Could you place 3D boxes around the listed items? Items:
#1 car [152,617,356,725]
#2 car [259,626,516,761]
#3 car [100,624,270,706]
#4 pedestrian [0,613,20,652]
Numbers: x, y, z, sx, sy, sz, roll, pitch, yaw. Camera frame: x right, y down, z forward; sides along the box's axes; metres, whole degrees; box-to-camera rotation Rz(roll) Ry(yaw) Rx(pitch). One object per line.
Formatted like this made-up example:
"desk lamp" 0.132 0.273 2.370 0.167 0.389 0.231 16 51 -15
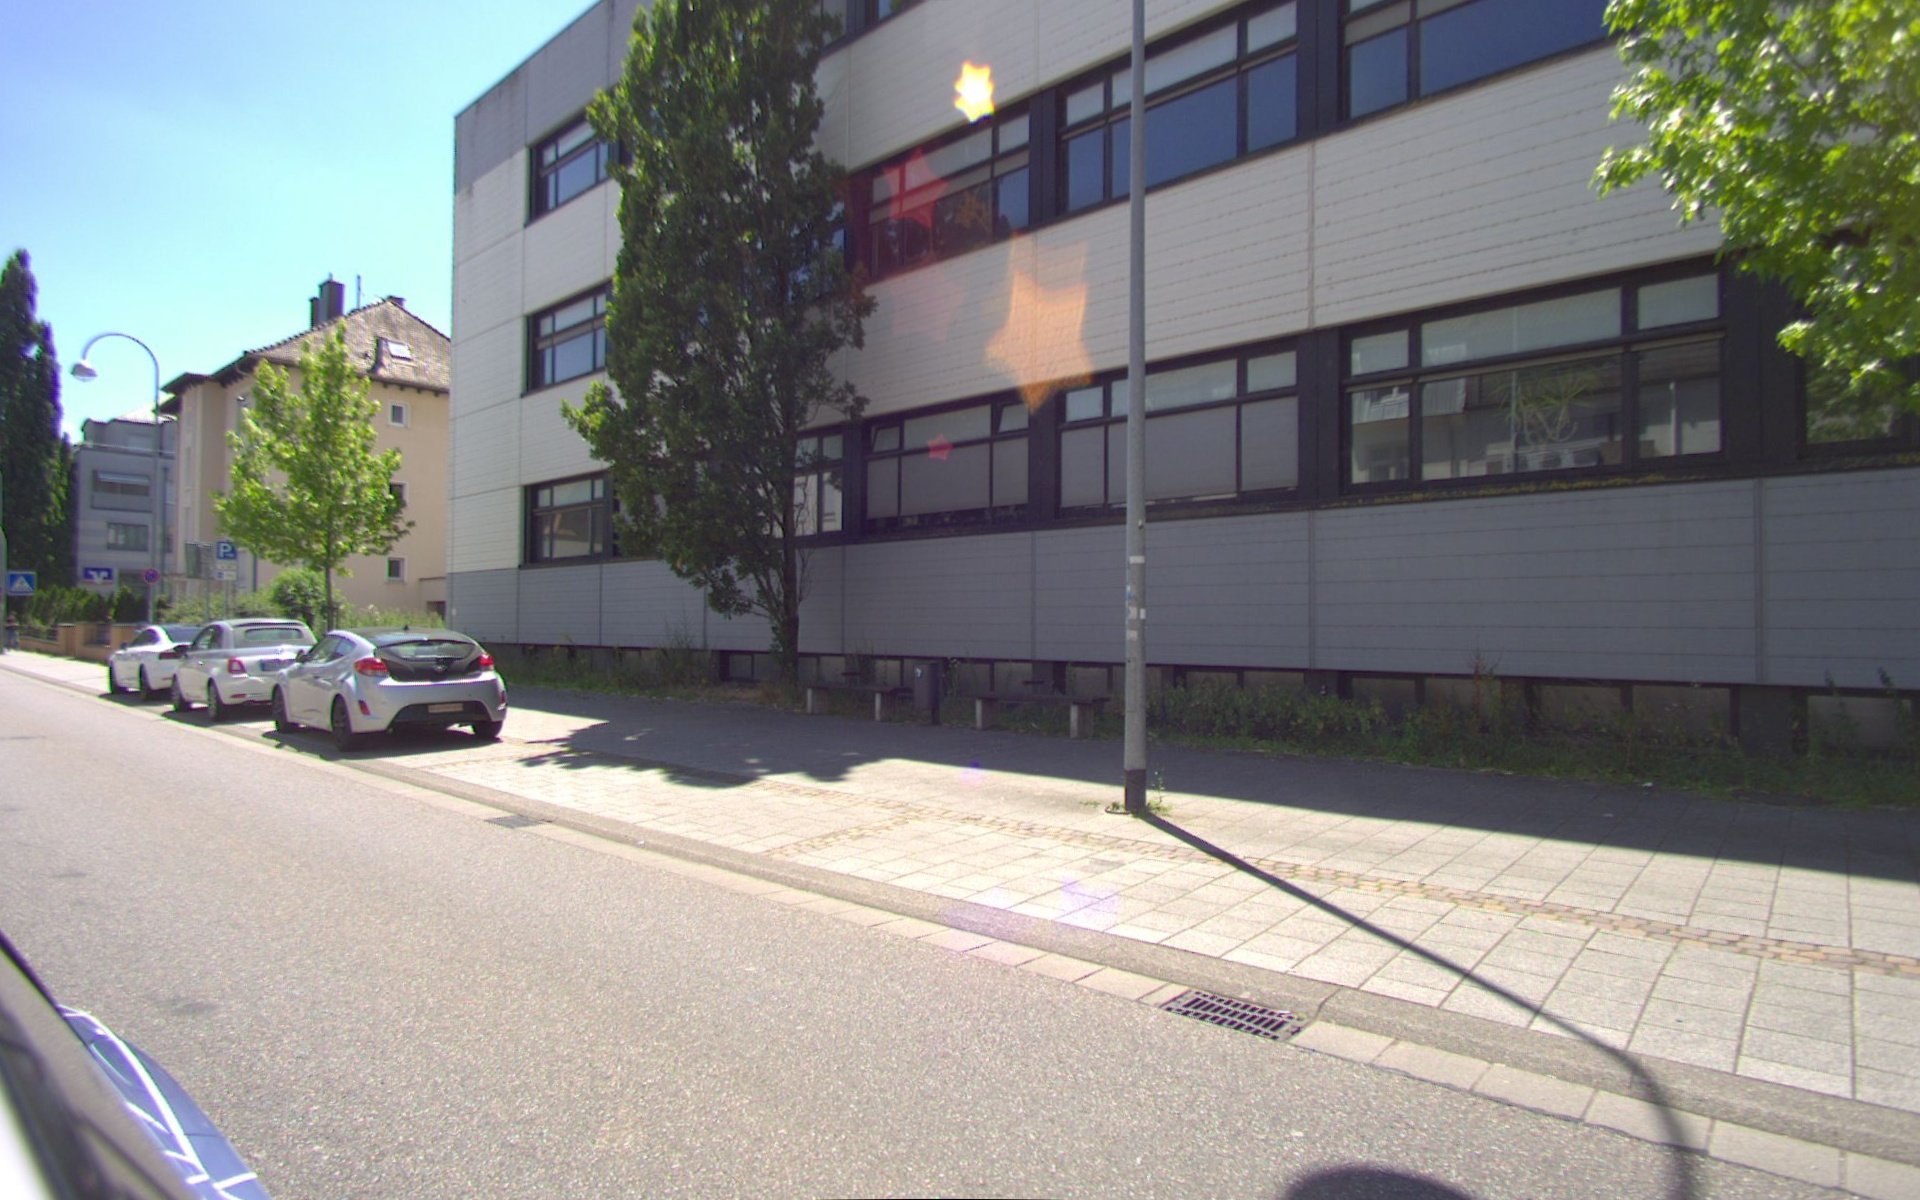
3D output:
"car" -11.676 1.061 16.625 4.287 1.523 1.803 -1 -1 41
"car" -7.390 1.057 12.909 3.932 1.420 1.729 -1 -1 42
"car" -15.330 1.189 19.928 4.575 1.422 1.803 -1 -1 41
"pedestrian" -41.455 1.417 44.169 0.708 1.698 0.531 -1 -2 41
